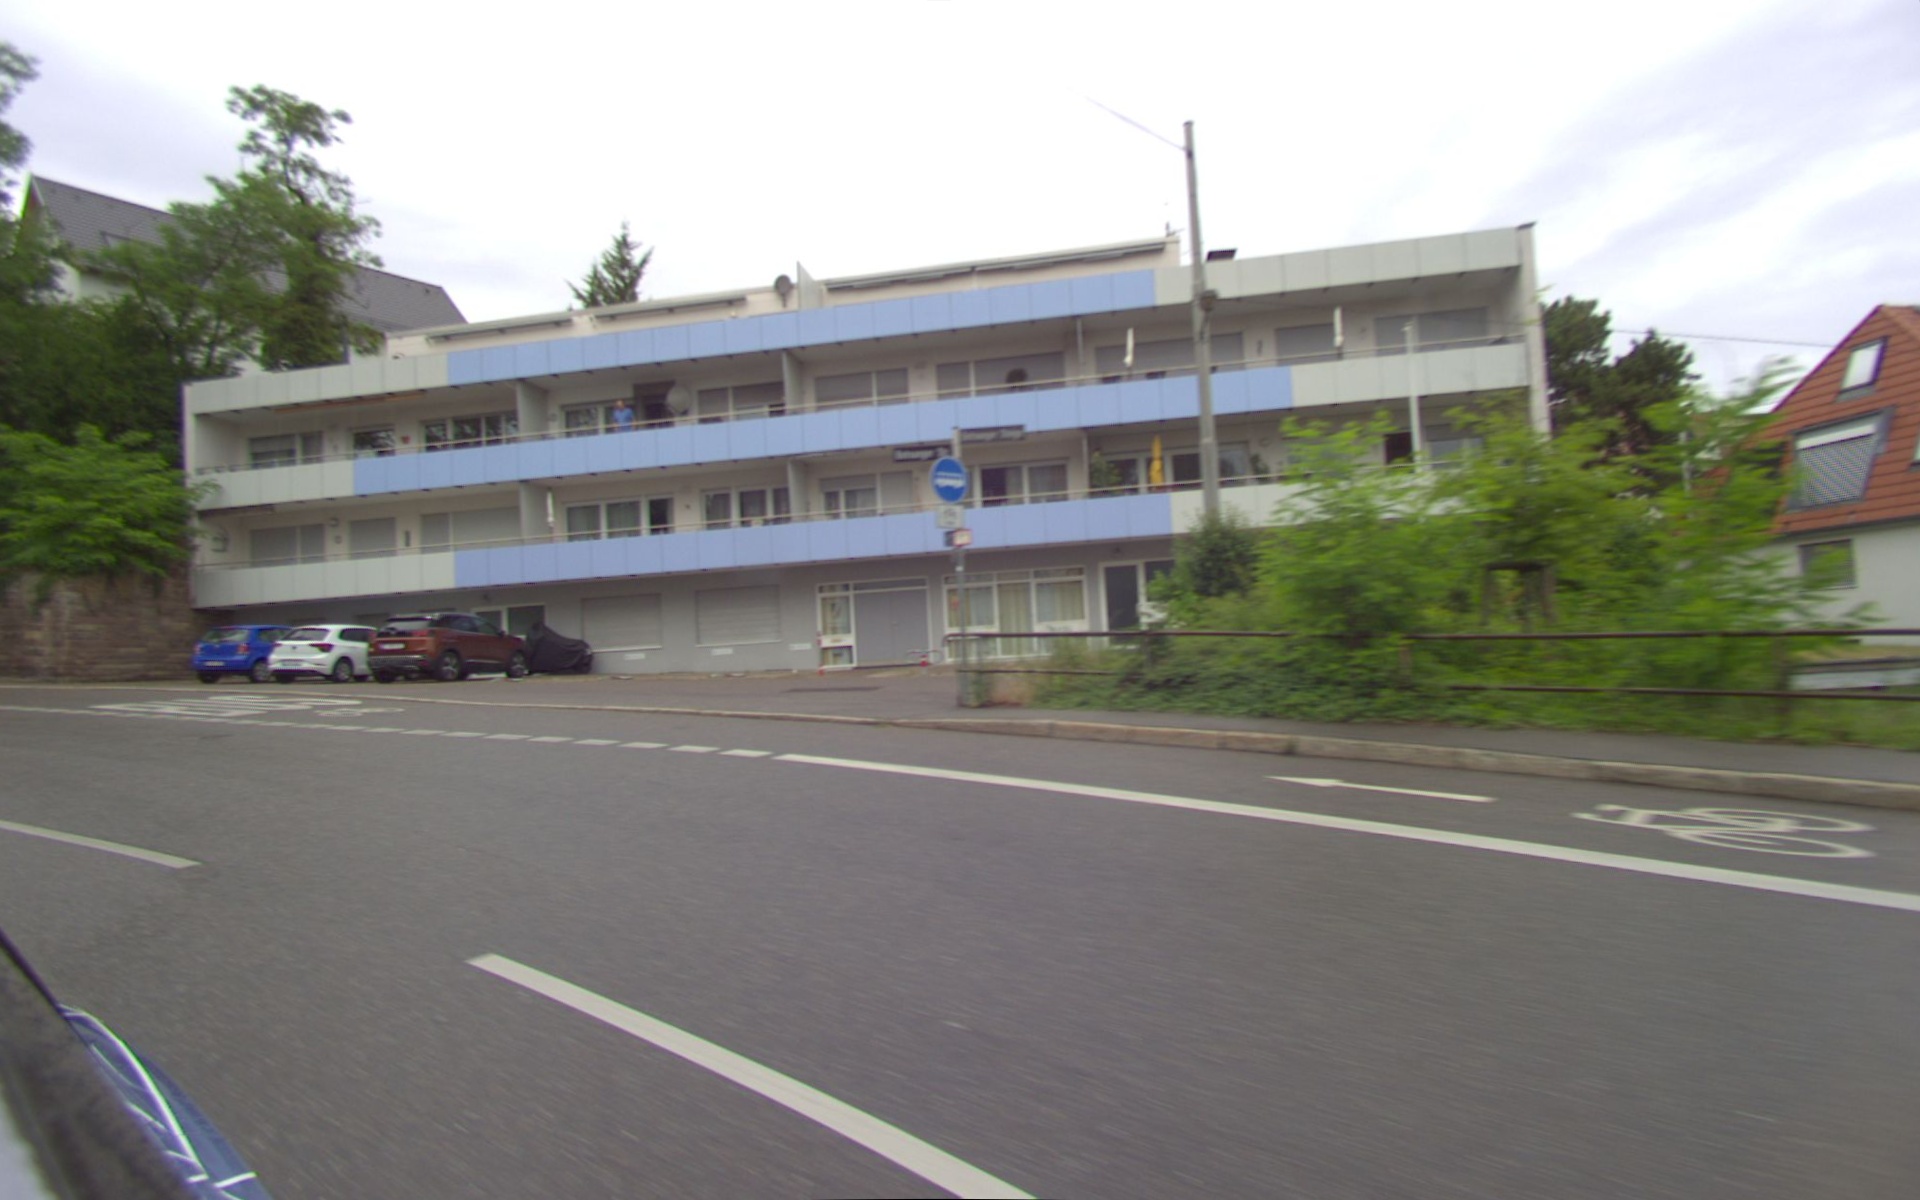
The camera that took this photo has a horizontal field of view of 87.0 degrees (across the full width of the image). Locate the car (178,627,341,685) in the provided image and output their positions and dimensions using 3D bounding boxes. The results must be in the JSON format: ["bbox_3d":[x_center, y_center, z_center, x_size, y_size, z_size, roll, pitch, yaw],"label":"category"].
[{"bbox_3d":[-18.043,1.466,26.270,1.617,1.401,3.435,0,-3,5],"label":"car"}]

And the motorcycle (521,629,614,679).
[{"bbox_3d":[-10.740,1.477,27.752,2.300,1.320,0.574,1,-1,-5],"label":"motorcycle"}]

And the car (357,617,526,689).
[{"bbox_3d":[-12.303,1.269,24.312,1.695,1.562,3.926,-1,-3,7],"label":"car"}]

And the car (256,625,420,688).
[{"bbox_3d":[-15.602,1.448,25.588,1.689,1.456,3.430,-1,-4,10],"label":"car"}]
